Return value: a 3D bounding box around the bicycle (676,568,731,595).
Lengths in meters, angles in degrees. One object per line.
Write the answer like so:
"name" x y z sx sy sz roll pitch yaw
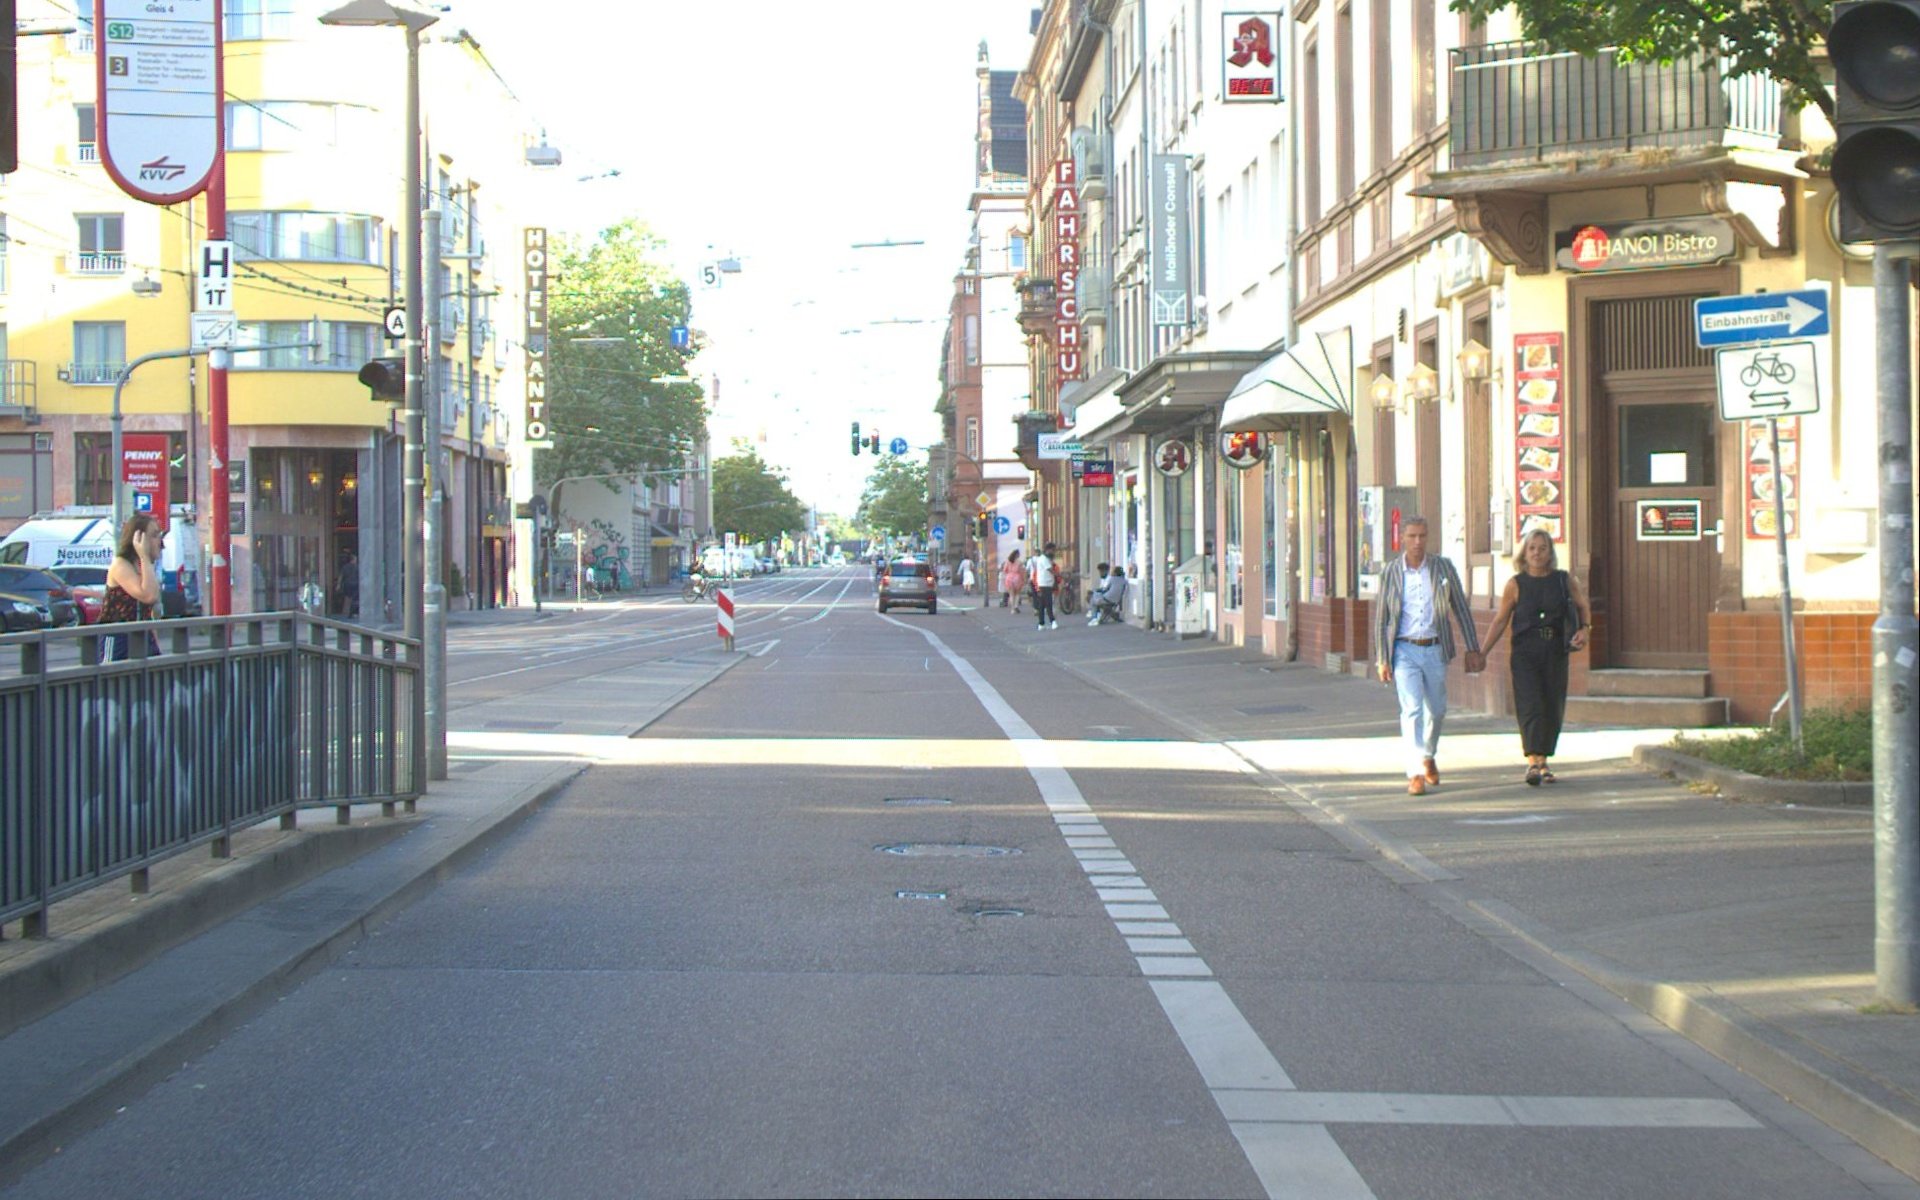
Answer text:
"bicycle" -9.885 -0.727 132.463 1.935 1.000 0.753 -1 1 17

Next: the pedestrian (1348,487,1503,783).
"pedestrian" 2.889 0.204 21.412 0.713 1.768 0.773 -4 2 -4

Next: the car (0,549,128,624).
"car" -19.262 -0.288 70.467 3.987 1.505 1.800 0 1 0

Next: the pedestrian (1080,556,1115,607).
"pedestrian" 2.844 -0.379 71.120 0.690 1.040 0.680 -1 1 3

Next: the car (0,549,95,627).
"car" -19.310 -0.248 67.885 3.987 1.505 1.800 0 1 0

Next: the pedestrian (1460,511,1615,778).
"pedestrian" 3.618 0.263 21.590 0.713 1.597 0.773 -4 2 -4

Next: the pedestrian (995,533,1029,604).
"pedestrian" 1.407 -0.849 93.363 0.843 1.911 0.662 -1 1 -3

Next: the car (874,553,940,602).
"car" -1.662 -0.708 106.237 1.993 1.444 4.000 0 1 -1

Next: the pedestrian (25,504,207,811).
"pedestrian" -4.853 0.315 19.804 0.869 1.708 0.788 1 2 -4

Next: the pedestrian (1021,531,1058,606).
"pedestrian" 2.056 -0.808 88.730 0.848 1.911 1.035 -1 1 -3

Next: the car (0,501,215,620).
"car" -19.174 -0.870 75.572 5.105 2.567 2.128 0 1 0

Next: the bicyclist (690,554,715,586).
"bicyclist" -9.917 -1.160 132.465 0.710 1.216 0.753 -1 1 17

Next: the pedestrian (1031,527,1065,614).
"pedestrian" 1.825 -0.607 71.264 0.648 1.790 0.561 -1 1 3

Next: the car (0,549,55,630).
"car" -19.554 -0.198 65.192 4.319 1.505 1.800 0 1 0

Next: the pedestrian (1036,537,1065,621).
"pedestrian" 1.938 -0.452 73.601 0.560 1.790 0.650 -1 1 6

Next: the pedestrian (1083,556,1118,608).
"pedestrian" 2.881 -0.374 70.394 0.690 1.040 0.680 -1 1 3

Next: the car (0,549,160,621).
"car" -19.183 -0.330 72.999 3.987 1.505 1.800 0 1 0

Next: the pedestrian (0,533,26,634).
"pedestrian" -17.436 -0.300 61.438 1.149 1.808 0.911 -1 1 -41

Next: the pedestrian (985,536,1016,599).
"pedestrian" 1.236 -1.010 105.145 0.843 1.911 0.847 -1 1 -3
